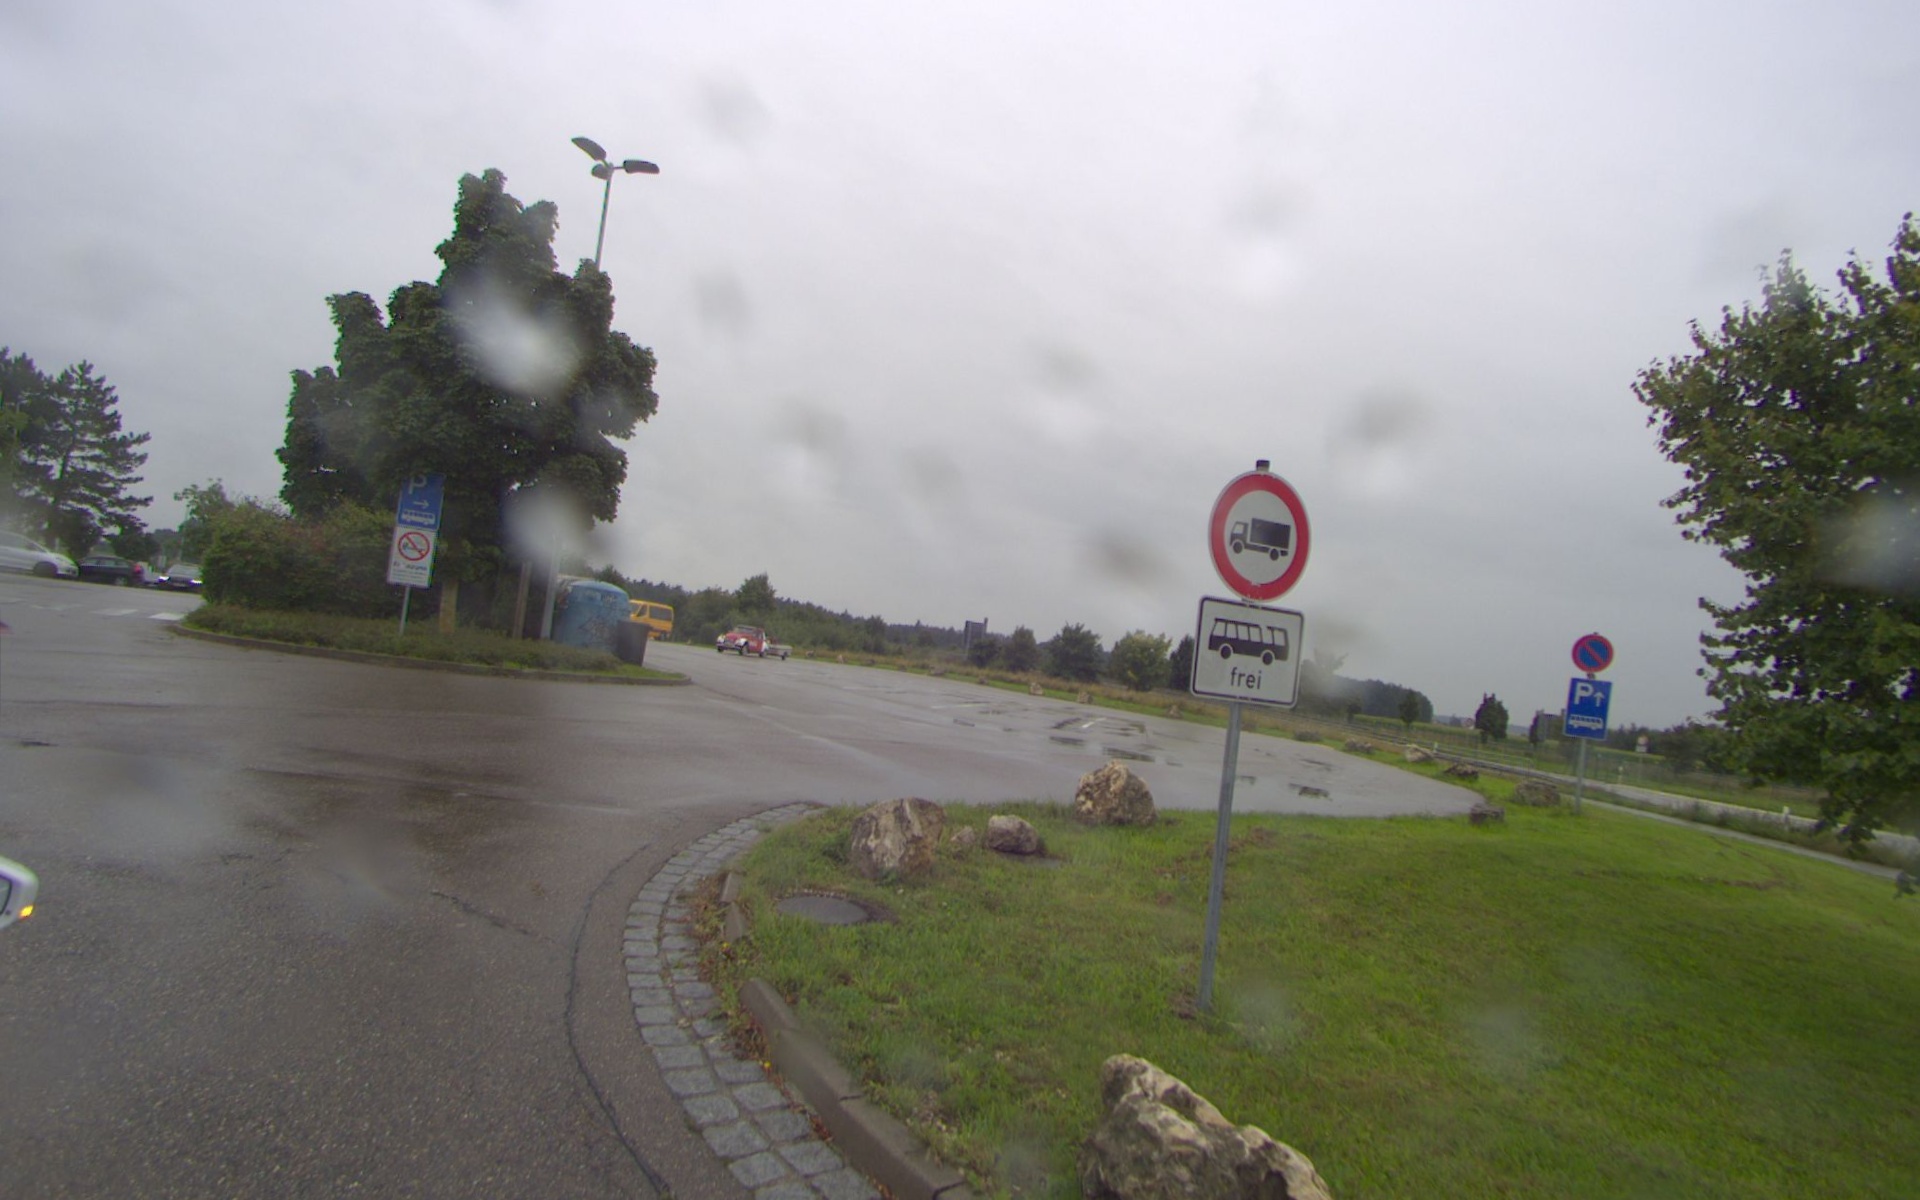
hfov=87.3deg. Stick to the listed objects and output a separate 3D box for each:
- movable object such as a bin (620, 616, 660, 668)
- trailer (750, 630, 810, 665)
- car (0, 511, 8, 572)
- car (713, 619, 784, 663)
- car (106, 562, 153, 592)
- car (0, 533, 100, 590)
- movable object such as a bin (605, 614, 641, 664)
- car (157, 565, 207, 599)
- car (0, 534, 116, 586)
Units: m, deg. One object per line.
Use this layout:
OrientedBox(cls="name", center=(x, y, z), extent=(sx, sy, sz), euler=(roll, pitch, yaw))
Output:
OrientedBox(cls="movable object such as a bin", center=(-6.480, 0.858, 20.365), extent=(0.428, 0.959, 0.472), euler=(7, -2, 34))
OrientedBox(cls="trailer", center=(-9.815, 2.614, 55.085), extent=(1.668, 1.549, 4.008), euler=(6, -4, 13))
OrientedBox(cls="car", center=(-32.131, -2.109, 30.752), extent=(3.987, 1.882, 1.836), euler=(8, -4, -34))
OrientedBox(cls="car", center=(-10.690, 2.129, 51.167), extent=(1.793, 1.796, 4.009), euler=(6, -4, 13))
OrientedBox(cls="car", center=(-48.315, -1.324, 58.588), extent=(1.636, 1.384, 3.782), euler=(9, -5, -35))
OrientedBox(cls="car", center=(-38.890, -1.664, 41.908), extent=(4.329, 1.882, 1.836), euler=(8, -4, -34))
OrientedBox(cls="movable object such as a bin", center=(-6.939, 0.802, 20.731), extent=(0.398, 0.959, 0.451), euler=(8, -2, 10))
OrientedBox(cls="car", center=(-39.156, -0.854, 50.694), extent=(1.636, 1.384, 3.967), euler=(9, -5, -35))
OrientedBox(cls="car", center=(-43.689, -1.910, 48.411), extent=(4.330, 1.882, 1.835), euler=(9, -4, -34))
